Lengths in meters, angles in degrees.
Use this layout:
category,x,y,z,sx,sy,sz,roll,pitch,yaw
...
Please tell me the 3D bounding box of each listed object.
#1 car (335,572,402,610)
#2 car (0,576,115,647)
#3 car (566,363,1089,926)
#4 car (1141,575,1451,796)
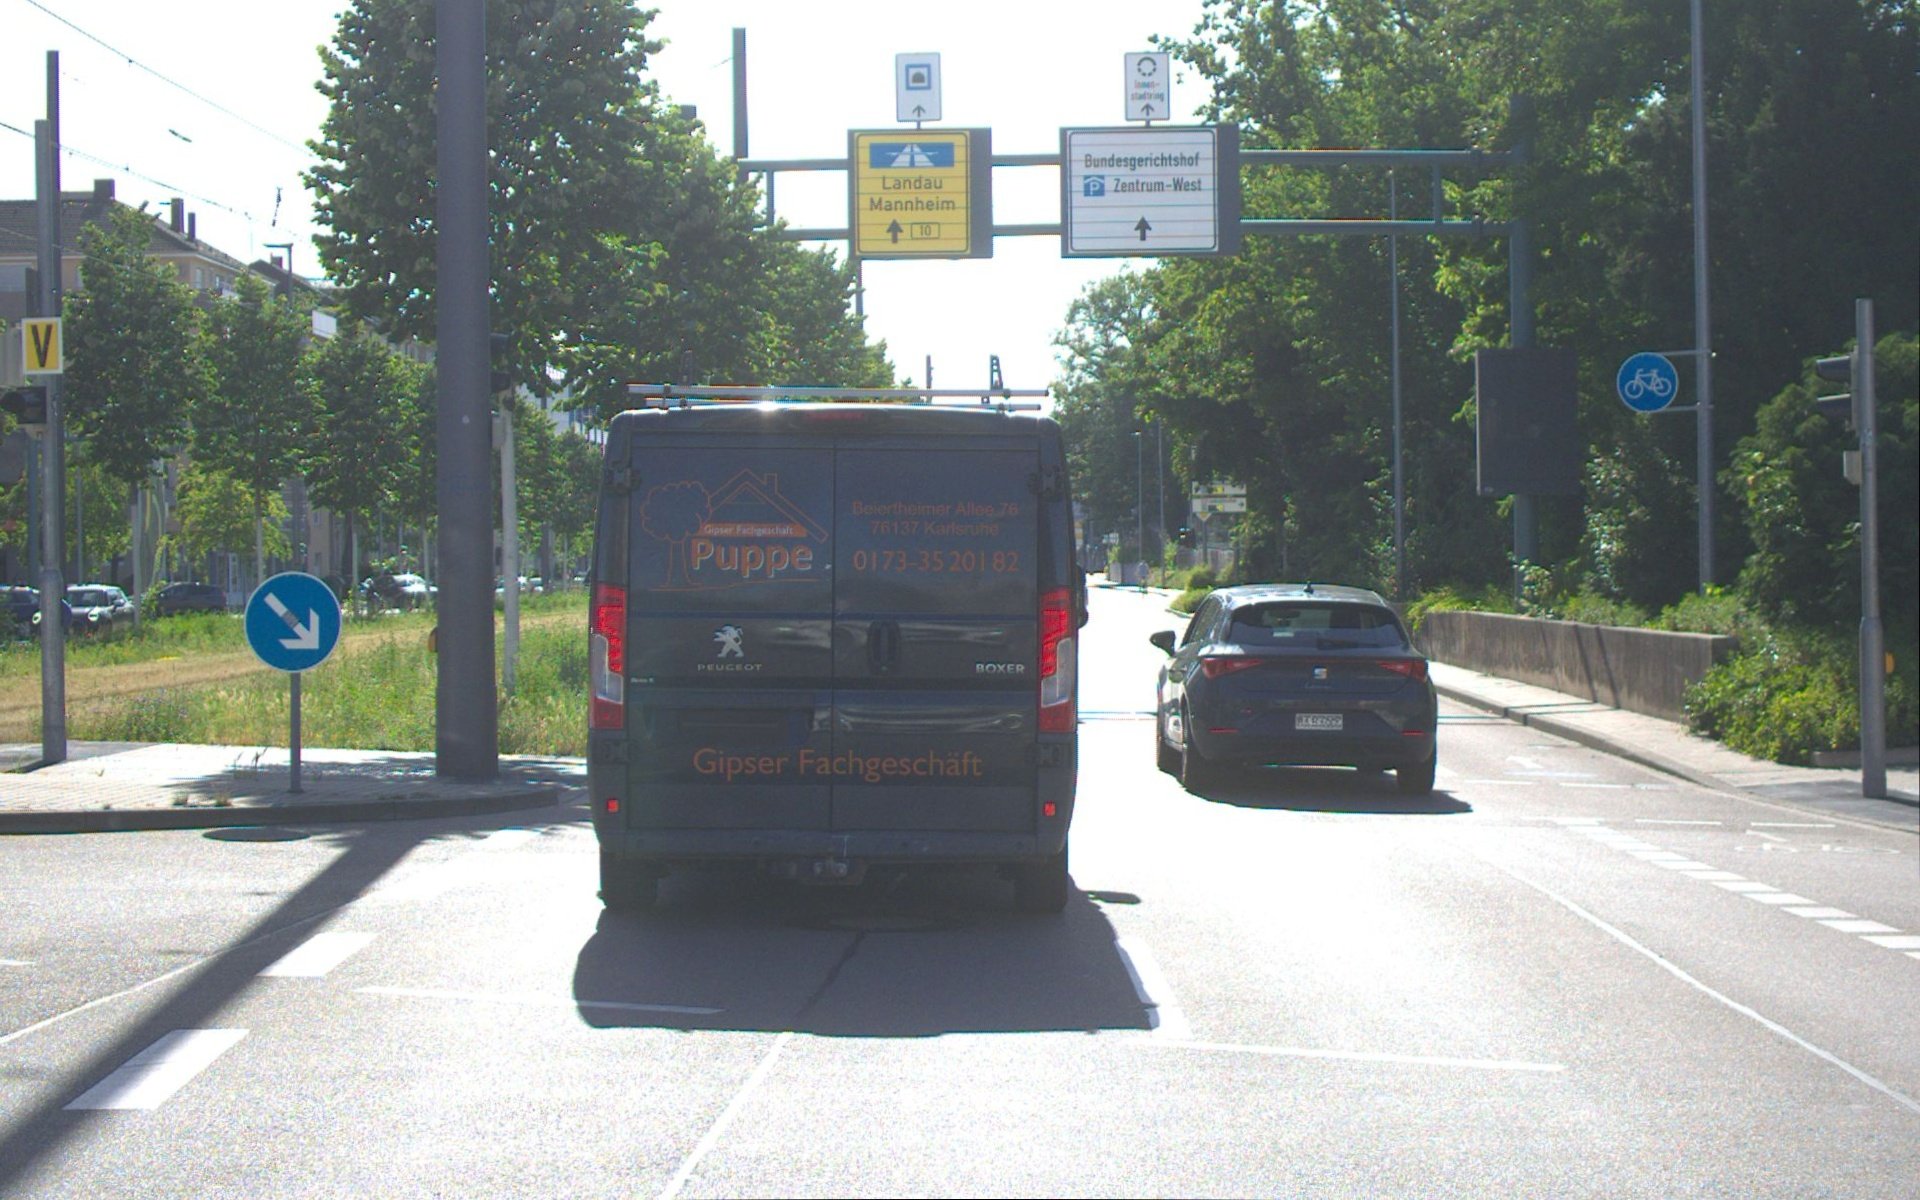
category,x,y,z,sx,sy,sz,roll,pitch,yaw
car,-24.743,-0.392,143.994,1.993,1.547,4.000,1,0,2
car,-20.807,0.247,78.307,1.994,1.547,4.000,1,0,2
car,-0.525,0.162,15.808,2.082,2.241,4.000,1,0,0
car,2.349,0.556,24.957,1.763,1.457,4.000,1,0,-1
